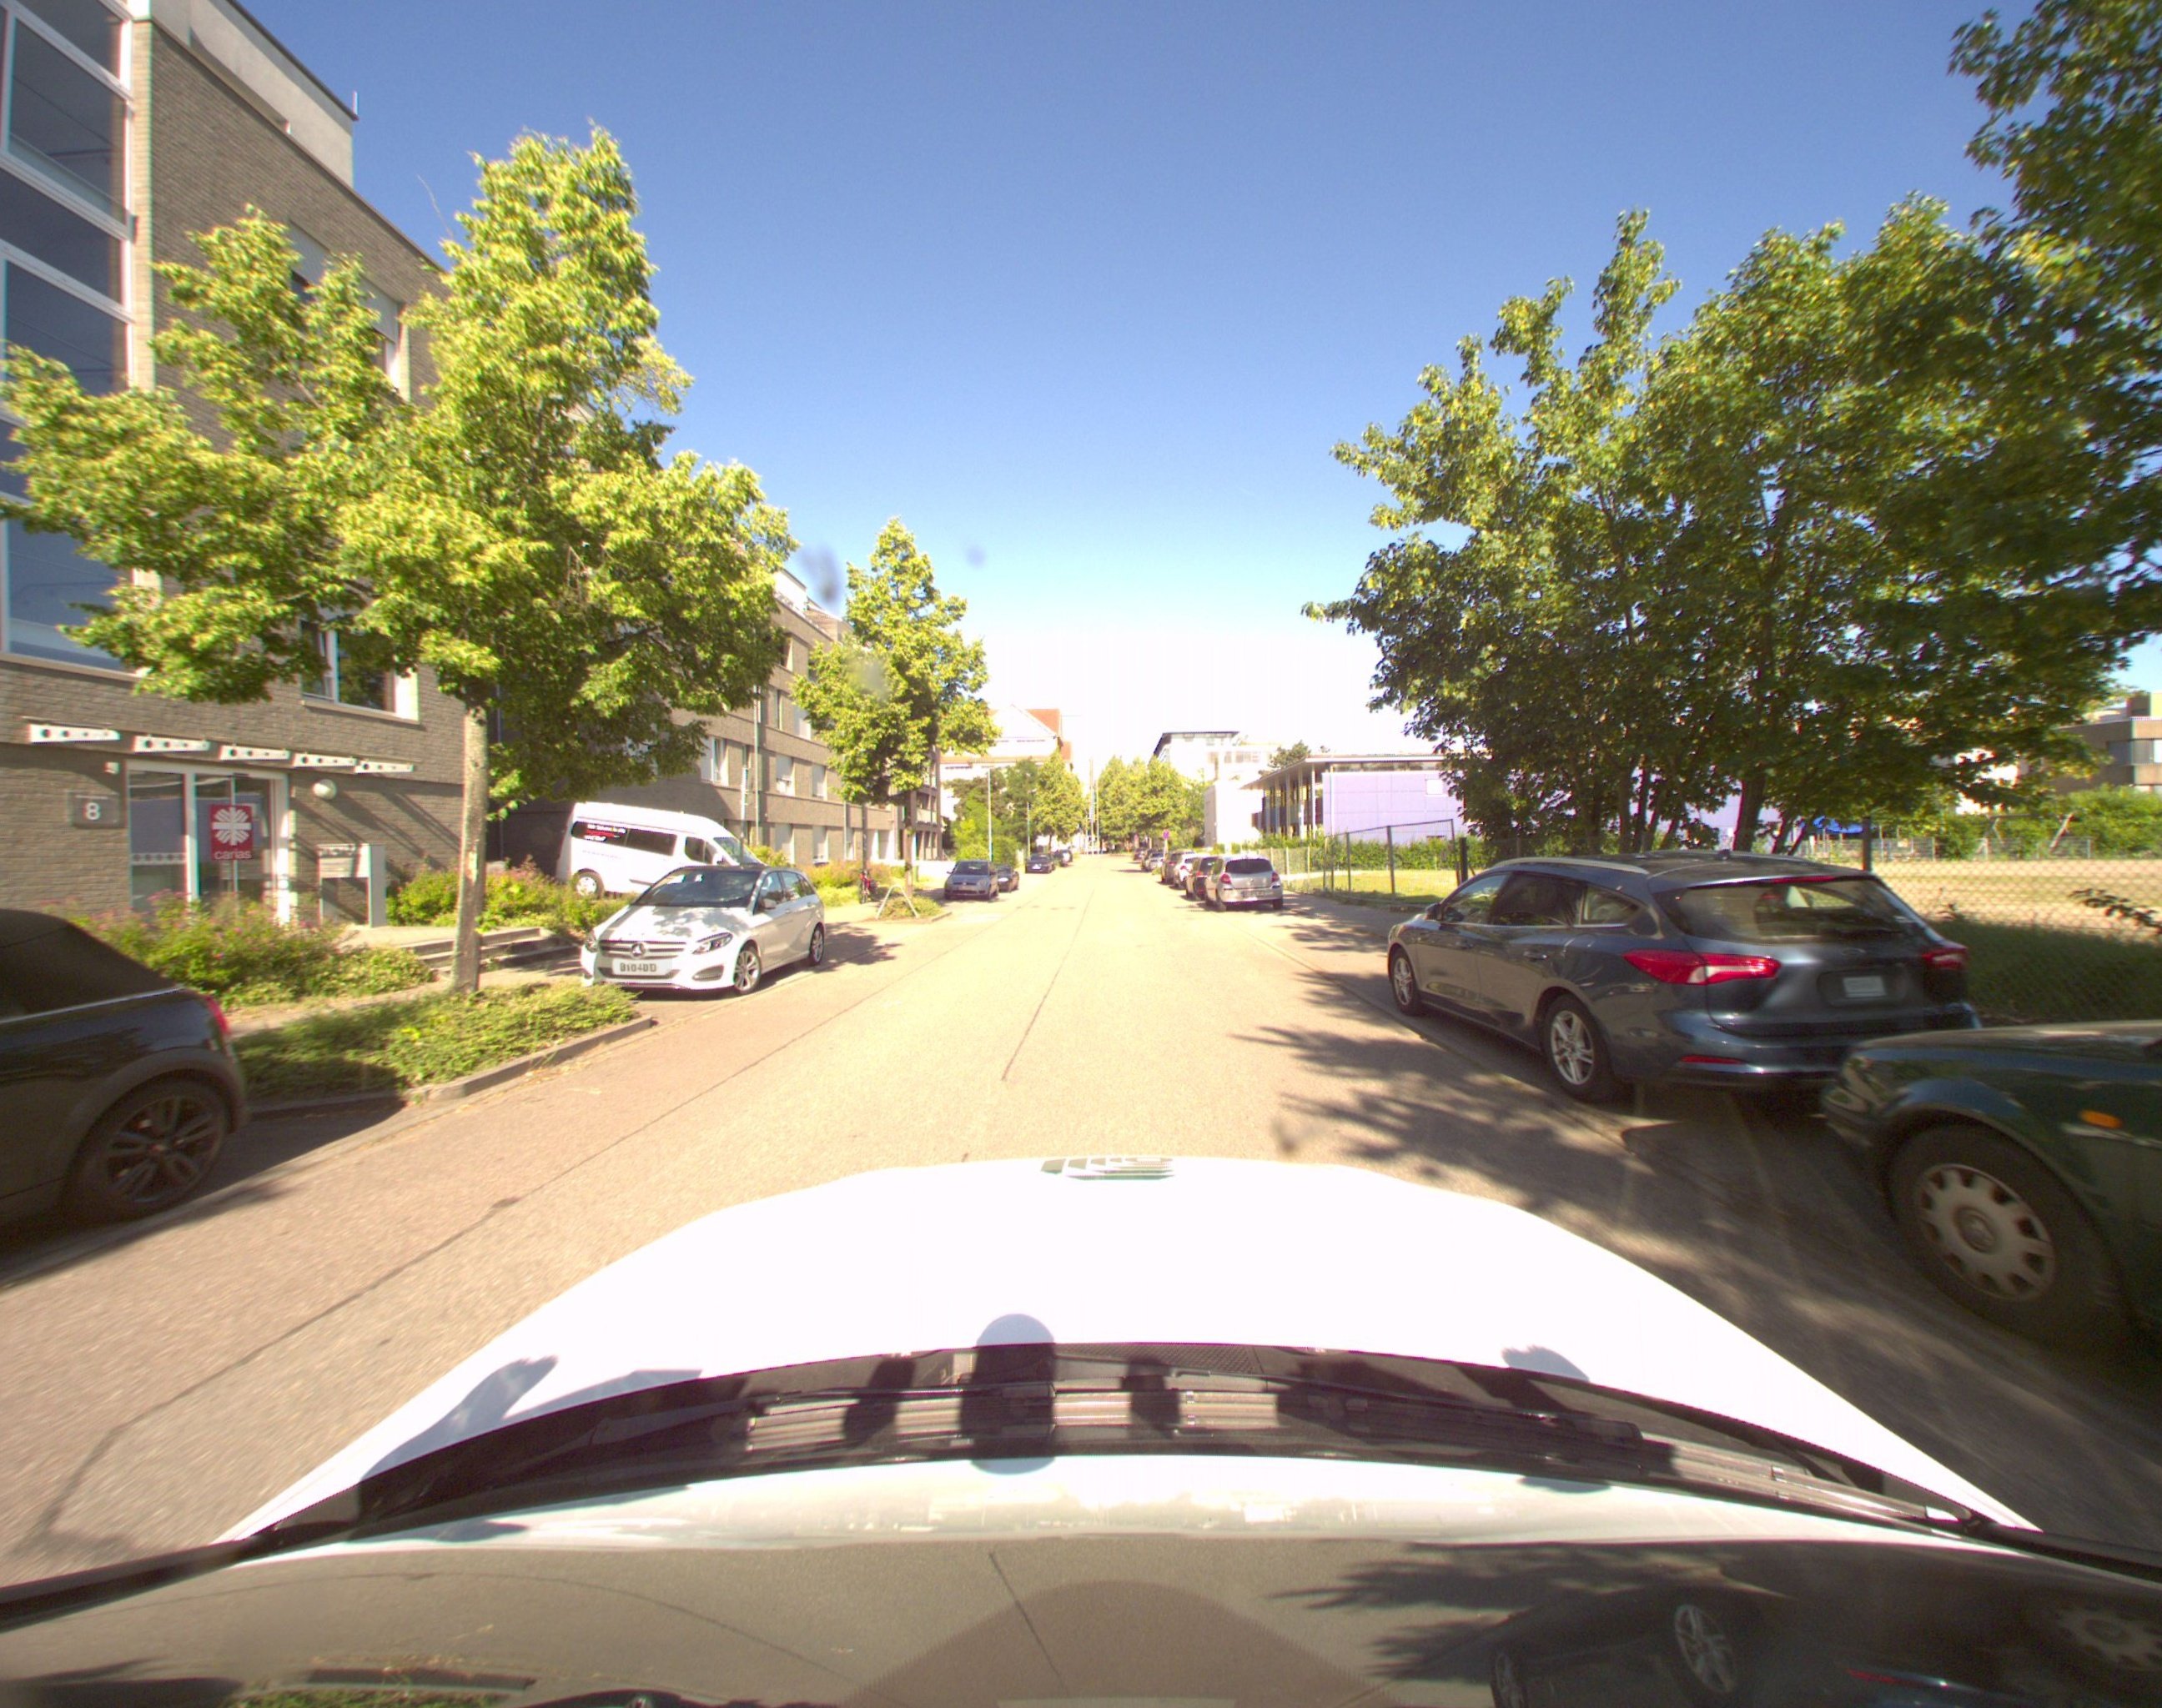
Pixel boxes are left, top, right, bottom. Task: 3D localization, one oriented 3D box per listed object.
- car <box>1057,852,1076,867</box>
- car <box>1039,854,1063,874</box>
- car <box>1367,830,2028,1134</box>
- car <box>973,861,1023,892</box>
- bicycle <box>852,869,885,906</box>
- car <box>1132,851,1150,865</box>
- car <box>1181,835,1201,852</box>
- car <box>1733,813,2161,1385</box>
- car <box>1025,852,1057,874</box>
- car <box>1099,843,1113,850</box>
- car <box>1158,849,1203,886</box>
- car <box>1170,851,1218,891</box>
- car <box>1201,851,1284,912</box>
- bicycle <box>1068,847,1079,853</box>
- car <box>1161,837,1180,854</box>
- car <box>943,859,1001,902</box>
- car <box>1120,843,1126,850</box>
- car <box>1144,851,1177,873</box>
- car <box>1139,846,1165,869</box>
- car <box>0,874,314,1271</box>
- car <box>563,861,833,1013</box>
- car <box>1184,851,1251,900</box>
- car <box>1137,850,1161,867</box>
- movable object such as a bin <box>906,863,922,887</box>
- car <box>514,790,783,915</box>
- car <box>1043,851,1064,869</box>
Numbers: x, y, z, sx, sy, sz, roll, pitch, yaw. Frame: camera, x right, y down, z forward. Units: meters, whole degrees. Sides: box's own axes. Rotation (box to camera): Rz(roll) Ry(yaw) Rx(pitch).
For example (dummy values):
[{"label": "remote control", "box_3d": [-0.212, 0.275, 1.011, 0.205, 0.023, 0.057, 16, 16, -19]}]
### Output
[{"label": "car", "box_3d": [-1.582, 0.594, 89.310, 1.770, 1.530, 4.002, -1, 0, 2]}, {"label": "car", "box_3d": [-2.379, 0.758, 65.645, 1.624, 1.501, 3.579, -1, 0, 2]}, {"label": "car", "box_3d": [3.758, 0.630, 6.158, 1.670, 1.437, 4.440, -1, 0, 1]}, {"label": "car", "box_3d": [-3.667, 0.966, 36.543, 1.592, 1.217, 3.878, 1, 1, 3]}, {"label": "bicycle", "box_3d": [-7.016, 1.083, 27.003, 0.282, 1.124, 1.989, -1, 0, 9]}, {"label": "car", "box_3d": [7.043, 0.473, 95.627, 1.986, 1.486, 4.002, -1, 0, 2]}, {"label": "car", "box_3d": [13.725, -1.299, 101.935, 1.986, 2.013, 4.002, -1, 0, 2]}, {"label": "car", "box_3d": [3.653, 0.610, 1.458, 1.817, 1.472, 4.071, -1, 0, 2]}, {"label": "car", "box_3d": [-2.912, 0.635, 59.790, 1.753, 1.527, 4.006, 1, 0, 6]}, {"label": "car", "box_3d": [7.473, -2.247, 244.627, 3.970, 2.013, 2.002, -1, 1, 3]}, {"label": "car", "box_3d": [4.901, 0.627, 40.488, 1.719, 1.652, 4.327, -3, 0, 1]}, {"label": "car", "box_3d": [4.853, 0.687, 35.456, 1.673, 1.542, 3.851, -1, 1, 2]}, {"label": "car", "box_3d": [4.392, 0.714, 22.693, 1.656, 1.513, 4.002, -1, 0, 3]}, {"label": "bicycle", "box_3d": [-1.042, -0.592, 113.771, 1.463, 0.842, 0.335, -1, 1, -3]}, {"label": "car", "box_3d": [11.204, -1.020, 101.867, 2.016, 2.013, 4.002, -1, 0, 2]}, {"label": "car", "box_3d": [-4.097, 0.953, 31.169, 1.605, 1.465, 3.875, -1, 0, 1]}, {"label": "car", "box_3d": [12.702, -2.345, 245.835, 1.985, 2.013, 4.003, -1, 1, 2]}, {"label": "car", "box_3d": [5.720, 0.596, 58.987, 1.824, 1.422, 4.231, -4, 0, -1]}, {"label": "car", "box_3d": [5.781, 0.239, 66.448, 1.814, 1.718, 4.121, -4, 0, 2]}, {"label": "car", "box_3d": [-4.984, 0.892, 2.541, 1.573, 1.504, 3.788, -2, 0, -1]}, {"label": "car", "box_3d": [-4.785, 0.918, 10.947, 1.654, 1.532, 4.284, -1, 0, -1]}, {"label": "car", "box_3d": [4.522, 0.697, 27.545, 1.681, 1.494, 4.079, -1, 0, 2]}, {"label": "car", "box_3d": [6.022, 0.391, 72.399, 1.827, 1.516, 3.882, -1, 0, 2]}, {"label": "movable object such as a bin", "box_3d": [-7.950, 0.984, 38.744, 0.605, 1.090, 0.637, -1, 1, 0]}, {"label": "car", "box_3d": [-10.707, -0.033, 20.491, 5.431, 2.383, 1.920, 7, 0, -2]}, {"label": "car", "box_3d": [-2.556, 0.510, 75.934, 1.688, 1.605, 3.944, -1, 0, 2]}]
